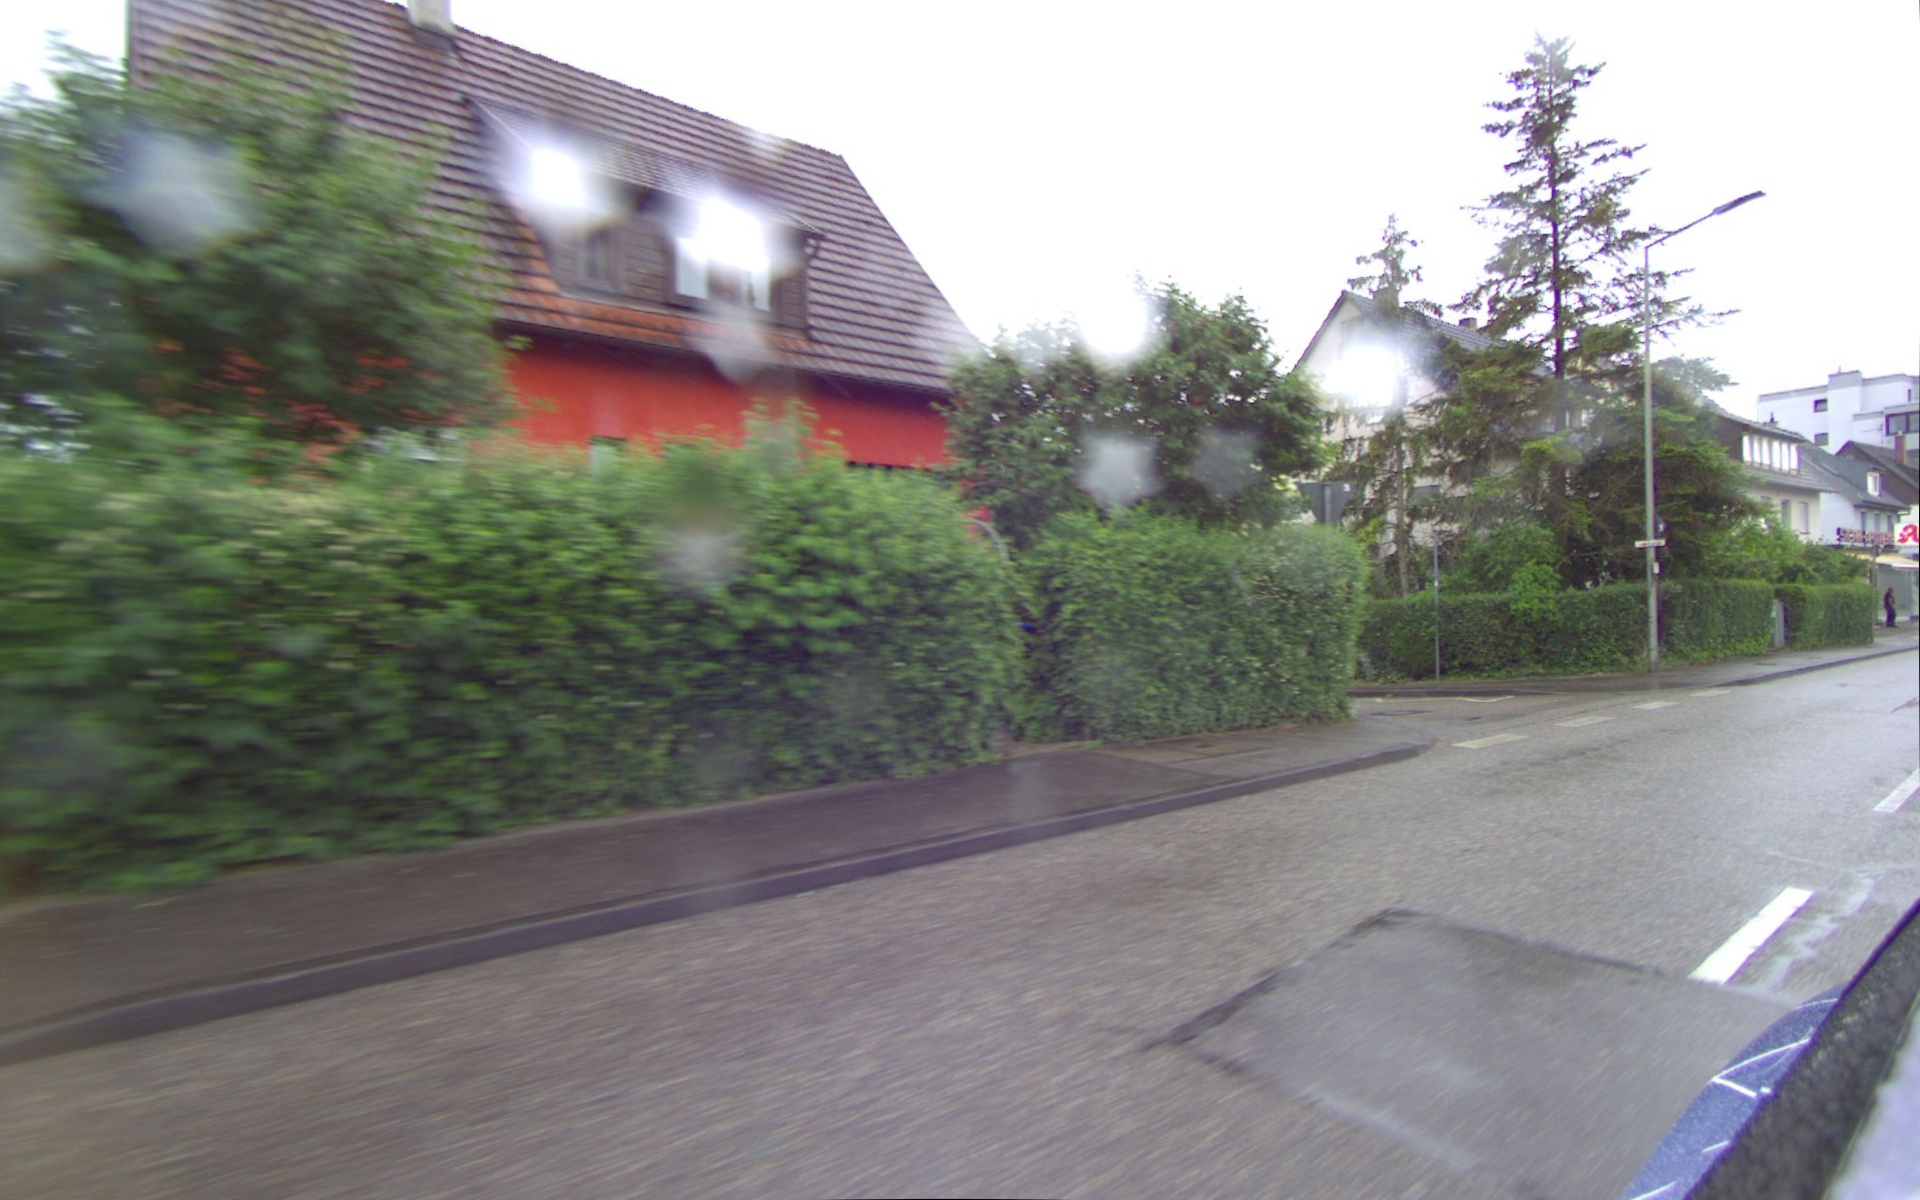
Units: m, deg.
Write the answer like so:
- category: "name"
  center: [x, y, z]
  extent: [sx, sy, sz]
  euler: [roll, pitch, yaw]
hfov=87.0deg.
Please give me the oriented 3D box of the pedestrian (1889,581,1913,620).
- category: "pedestrian"
  center: [39.938, 0.032, 42.955]
  extent: [0.610, 1.652, 0.695]
  euler: [0, -1, -42]
